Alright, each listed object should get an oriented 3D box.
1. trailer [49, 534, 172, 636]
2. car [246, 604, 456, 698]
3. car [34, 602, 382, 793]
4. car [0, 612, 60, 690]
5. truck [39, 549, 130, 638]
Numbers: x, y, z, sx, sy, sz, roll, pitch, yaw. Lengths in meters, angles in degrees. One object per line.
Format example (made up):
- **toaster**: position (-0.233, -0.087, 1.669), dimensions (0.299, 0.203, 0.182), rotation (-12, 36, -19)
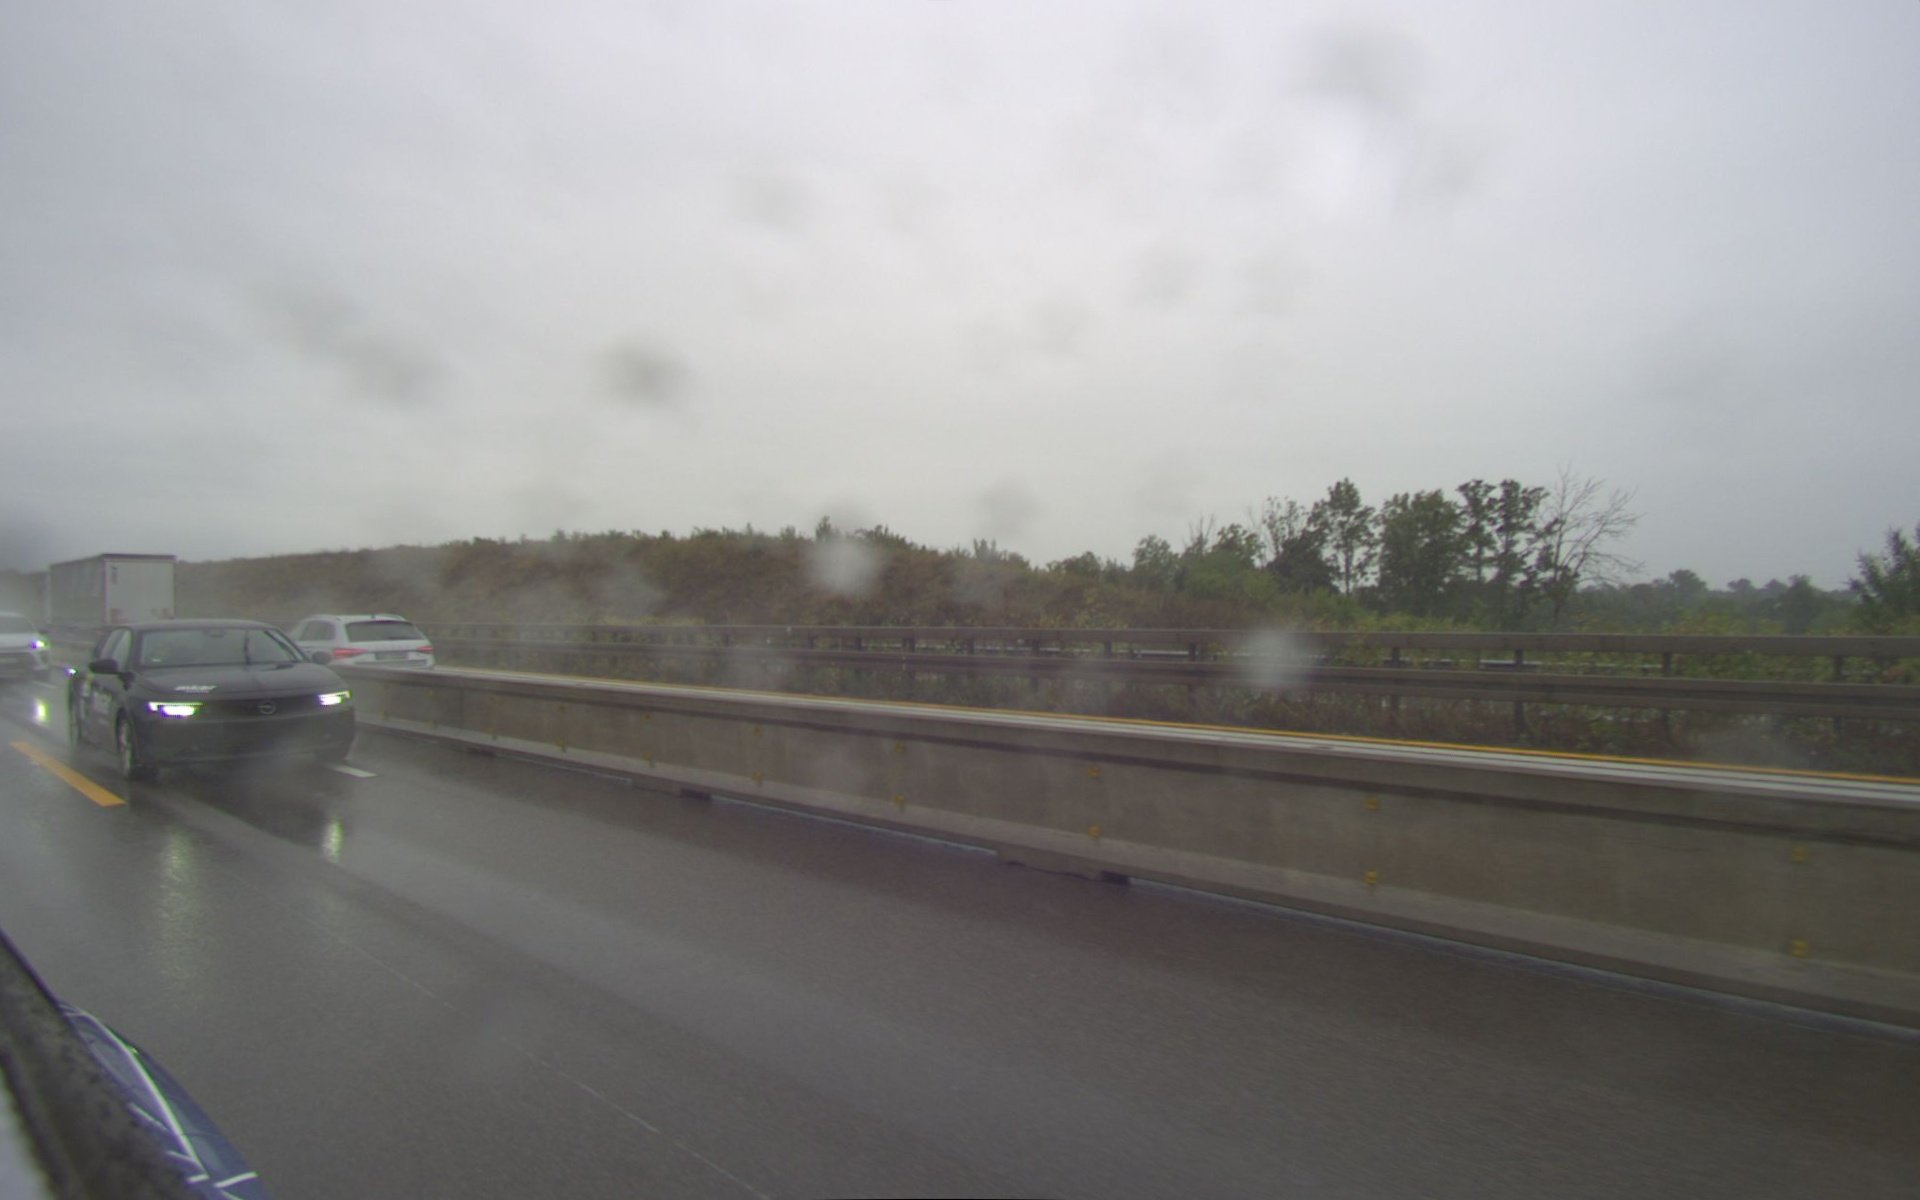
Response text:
- **trailer**: position (-40.463, -0.614, 47.960), dimensions (13.067, 4.309, 2.658), rotation (0, 0, 42)
- **car**: position (-11.399, 0.838, 18.806), dimensions (4.718, 1.518, 2.017), rotation (0, 0, 41)
- **car**: position (-7.957, 0.845, 10.510), dimensions (4.793, 1.539, 1.919), rotation (-2, -1, 41)
- **car**: position (-22.684, 1.149, 23.679), dimensions (3.998, 1.693, 1.946), rotation (0, 0, 41)
- **truck**: position (-45.306, -0.308, 52.321), dimensions (6.746, 4.309, 2.680), rotation (0, 0, 41)
